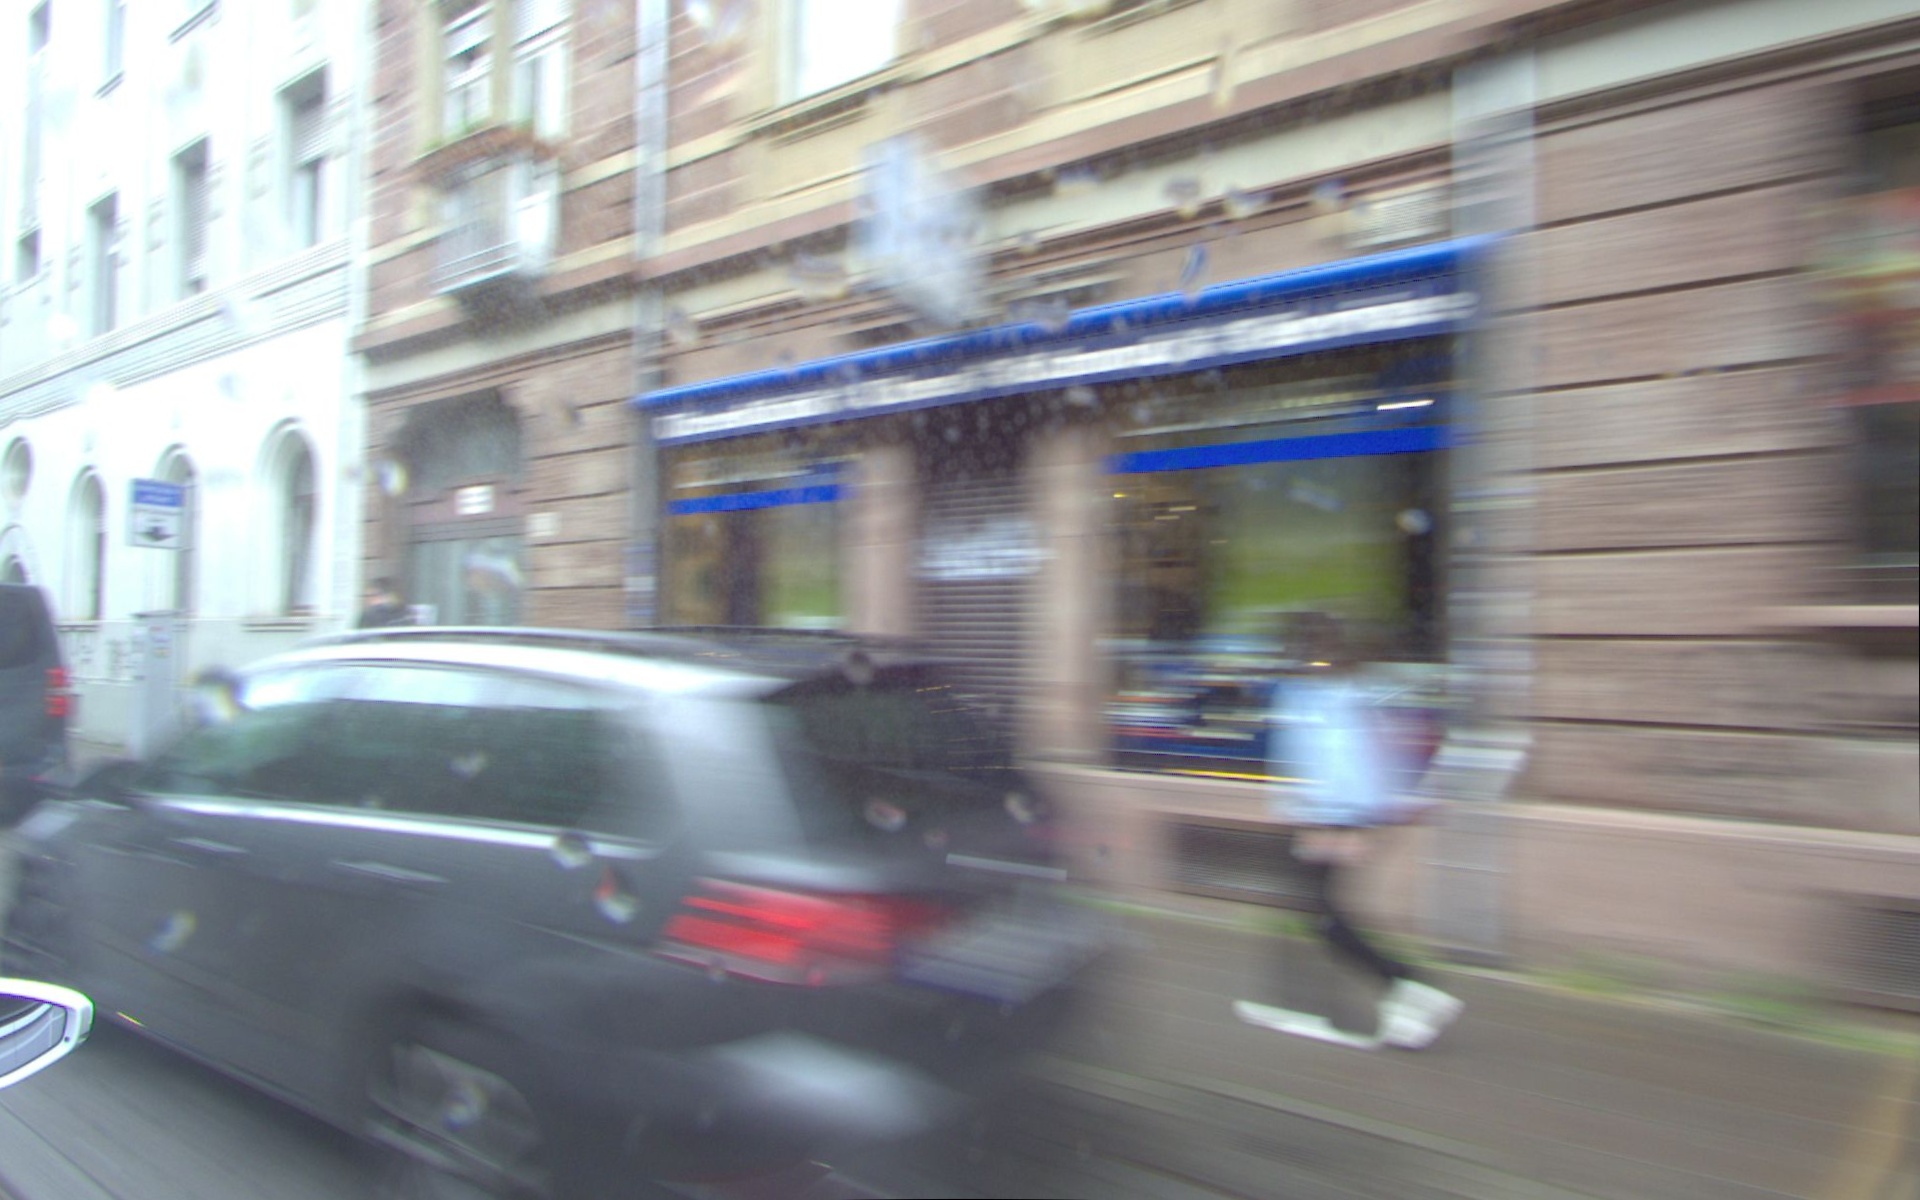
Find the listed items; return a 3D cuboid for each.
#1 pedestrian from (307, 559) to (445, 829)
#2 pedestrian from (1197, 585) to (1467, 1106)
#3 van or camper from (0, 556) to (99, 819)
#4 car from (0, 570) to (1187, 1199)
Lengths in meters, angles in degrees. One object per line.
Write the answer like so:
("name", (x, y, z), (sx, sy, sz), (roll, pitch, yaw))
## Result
("pedestrian", (-4.552, 0.714, 7.807), (0.801, 1.958, 0.676), (-3, -4, 40))
("pedestrian", (1.368, 0.785, 3.654), (0.798, 1.634, 0.677), (0, -1, 33))
("van or camper", (-9.322, 0.652, 8.247), (4.982, 1.915, 2.018), (-1, -2, 32))
("car", (-1.467, 0.808, 3.259), (3.945, 1.565, 1.839), (-1, -3, 32))
